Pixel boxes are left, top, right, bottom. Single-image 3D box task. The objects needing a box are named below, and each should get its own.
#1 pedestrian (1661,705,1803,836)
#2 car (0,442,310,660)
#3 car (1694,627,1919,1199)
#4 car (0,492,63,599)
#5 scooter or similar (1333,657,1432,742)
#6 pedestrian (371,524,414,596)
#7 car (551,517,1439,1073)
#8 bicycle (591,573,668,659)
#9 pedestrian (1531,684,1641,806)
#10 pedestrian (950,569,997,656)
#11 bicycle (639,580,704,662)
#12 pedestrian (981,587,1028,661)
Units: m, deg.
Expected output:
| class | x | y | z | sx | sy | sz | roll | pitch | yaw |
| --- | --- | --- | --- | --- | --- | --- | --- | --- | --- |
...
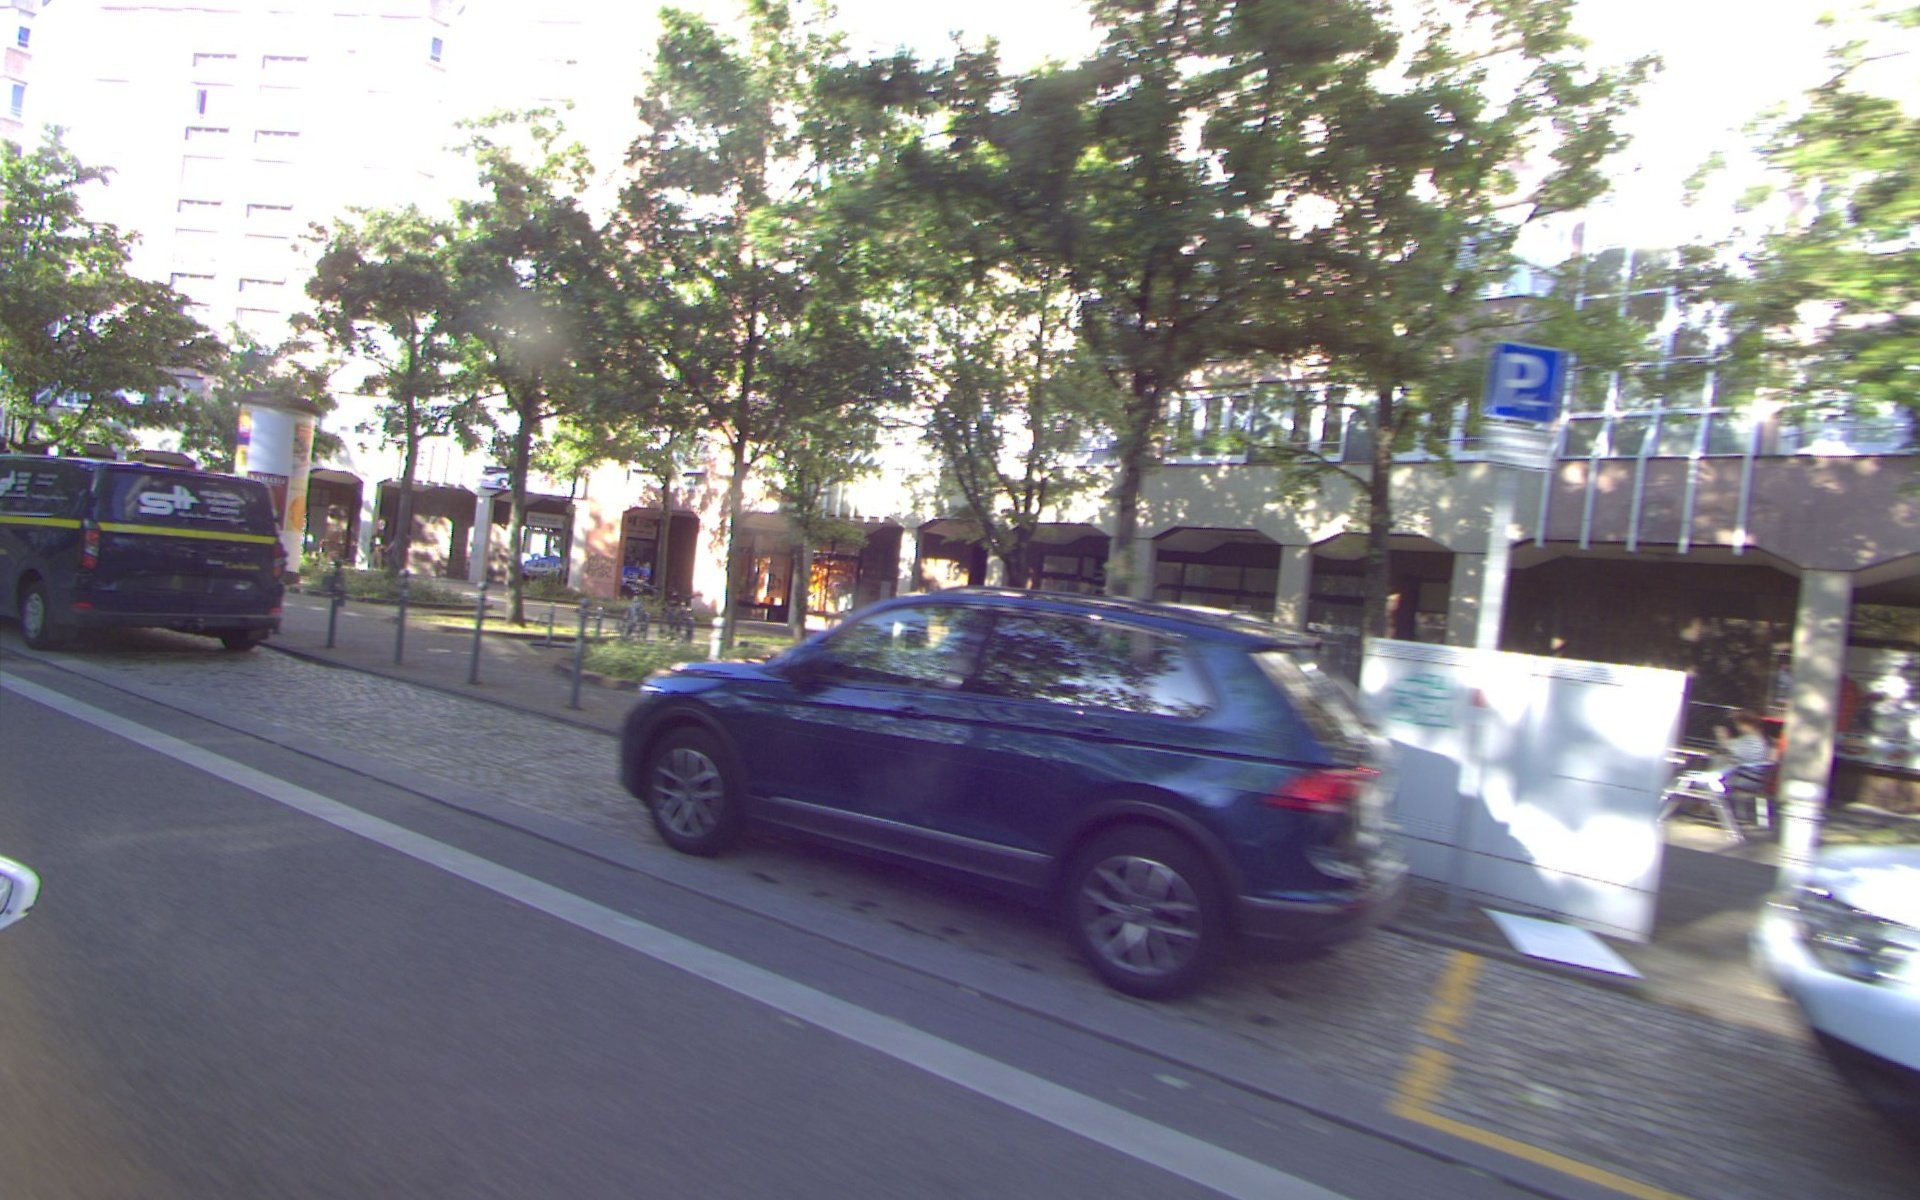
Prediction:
| class | x | y | z | sx | sy | sz | roll | pitch | yaw |
| --- | --- | --- | --- | --- | --- | --- | --- | --- | --- |
| pedestrian | 8.726 | 1.891 | 11.377 | 1.108 | 1.227 | 0.884 | 7 | 0 | 42 |
| car | -9.856 | -0.645 | 11.421 | 5.110 | 1.969 | 2.039 | 7 | 2 | 31 |
| car | 4.680 | 1.204 | 2.464 | 4.387 | 1.747 | 1.798 | 7 | 2 | 33 |
| car | -15.603 | -0.997 | 15.565 | 4.110 | 1.484 | 1.701 | 7 | 1 | 36 |
| scooter or similar | 7.378 | 1.717 | 17.580 | 1.343 | 1.271 | 0.665 | 7 | 0 | 40 |
| pedestrian | -16.676 | -1.168 | 29.546 | 0.763 | 2.006 | 0.640 | 7 | 1 | 33 |
| car | -0.039 | 0.635 | 5.558 | 4.500 | 1.747 | 1.798 | 7 | 2 | 33 |
| bicycle | -5.410 | 0.228 | 16.374 | 0.649 | 1.202 | 2.167 | 6 | 0 | -30 |
| pedestrian | 7.556 | 1.714 | 12.127 | 0.953 | 1.266 | 0.929 | 7 | 1 | 35 |
| pedestrian | 0.364 | 0.349 | 27.658 | 0.720 | 2.276 | 0.796 | 6 | 1 | -38 |
| bicycle | -4.789 | 0.322 | 16.615 | 0.480 | 1.169 | 1.897 | 6 | 0 | -30 |
| pedestrian | 1.189 | 0.640 | 27.166 | 0.717 | 1.895 | 0.886 | 6 | 1 | -29 |
